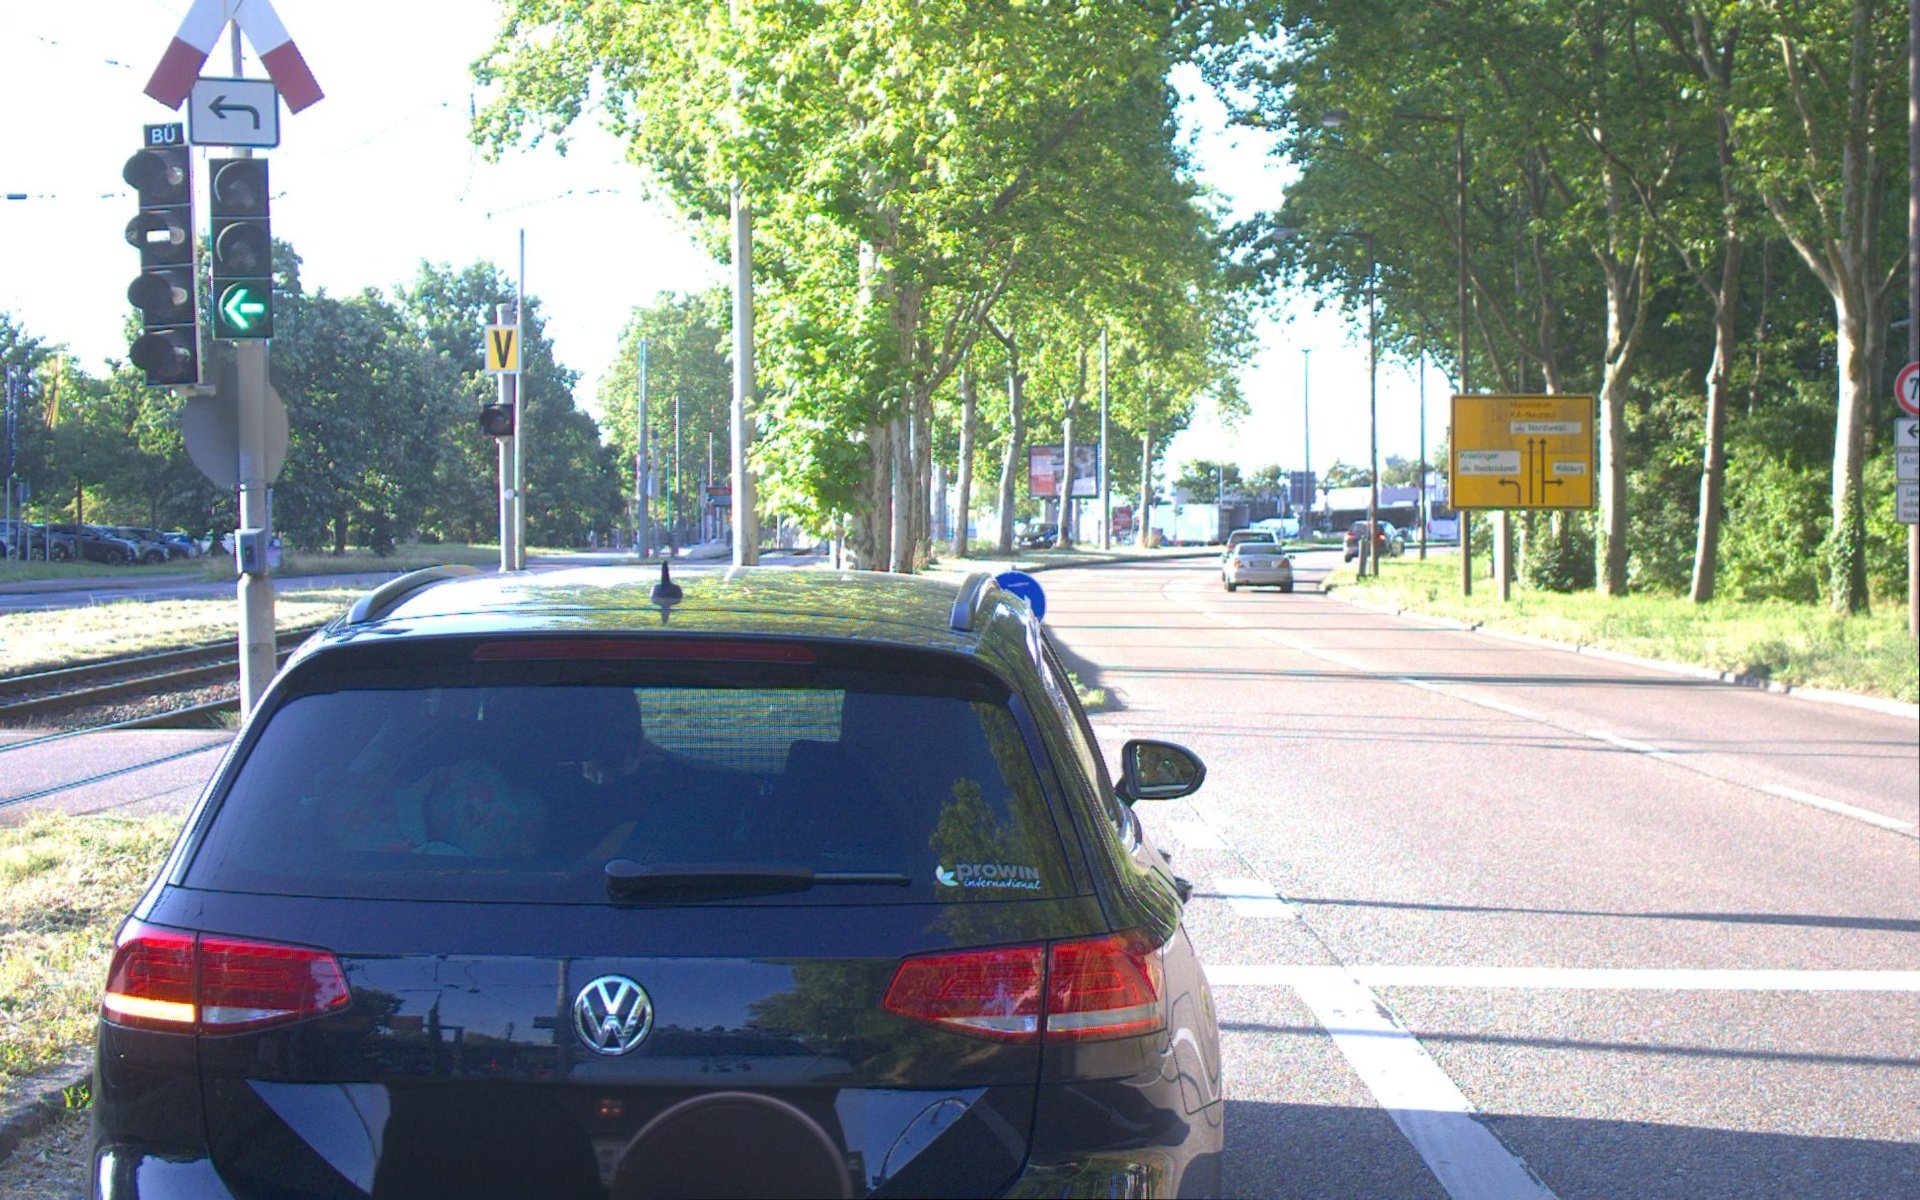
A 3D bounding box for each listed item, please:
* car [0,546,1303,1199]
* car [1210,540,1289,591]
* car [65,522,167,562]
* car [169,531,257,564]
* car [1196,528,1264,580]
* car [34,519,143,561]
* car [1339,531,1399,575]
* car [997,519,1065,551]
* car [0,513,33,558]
[{"bbox_3d":[-0.479,0.646,6.409,1.795,1.459,3.583,1,1,-1],"label":"car"},{"bbox_3d":[7.660,-0.934,91.114,1.609,1.290,3.983,1,1,-2],"label":"car"},{"bbox_3d":[-35.817,-2.461,145.906,3.986,1.615,1.744,1,1,-5],"label":"car"},{"bbox_3d":[-36.500,-2.550,167.982,3.986,1.550,1.744,1,1,-4],"label":"car"},{"bbox_3d":[8.190,-1.417,104.489,1.707,1.555,4.166,0,1,0],"label":"car"},{"bbox_3d":[-35.159,-2.419,138.750,3.986,1.615,1.744,1,1,-5],"label":"car"},{"bbox_3d":[16.450,-1.870,138.130,1.873,1.629,4.367,4,1,13],"label":"car"},{"bbox_3d":[3.334,-3.039,161.164,1.996,1.415,3.996,1,1,20],"label":"car"},{"bbox_3d":[-35.910,-2.369,125.001,3.986,1.615,1.744,1,1,-5],"label":"car"}]
